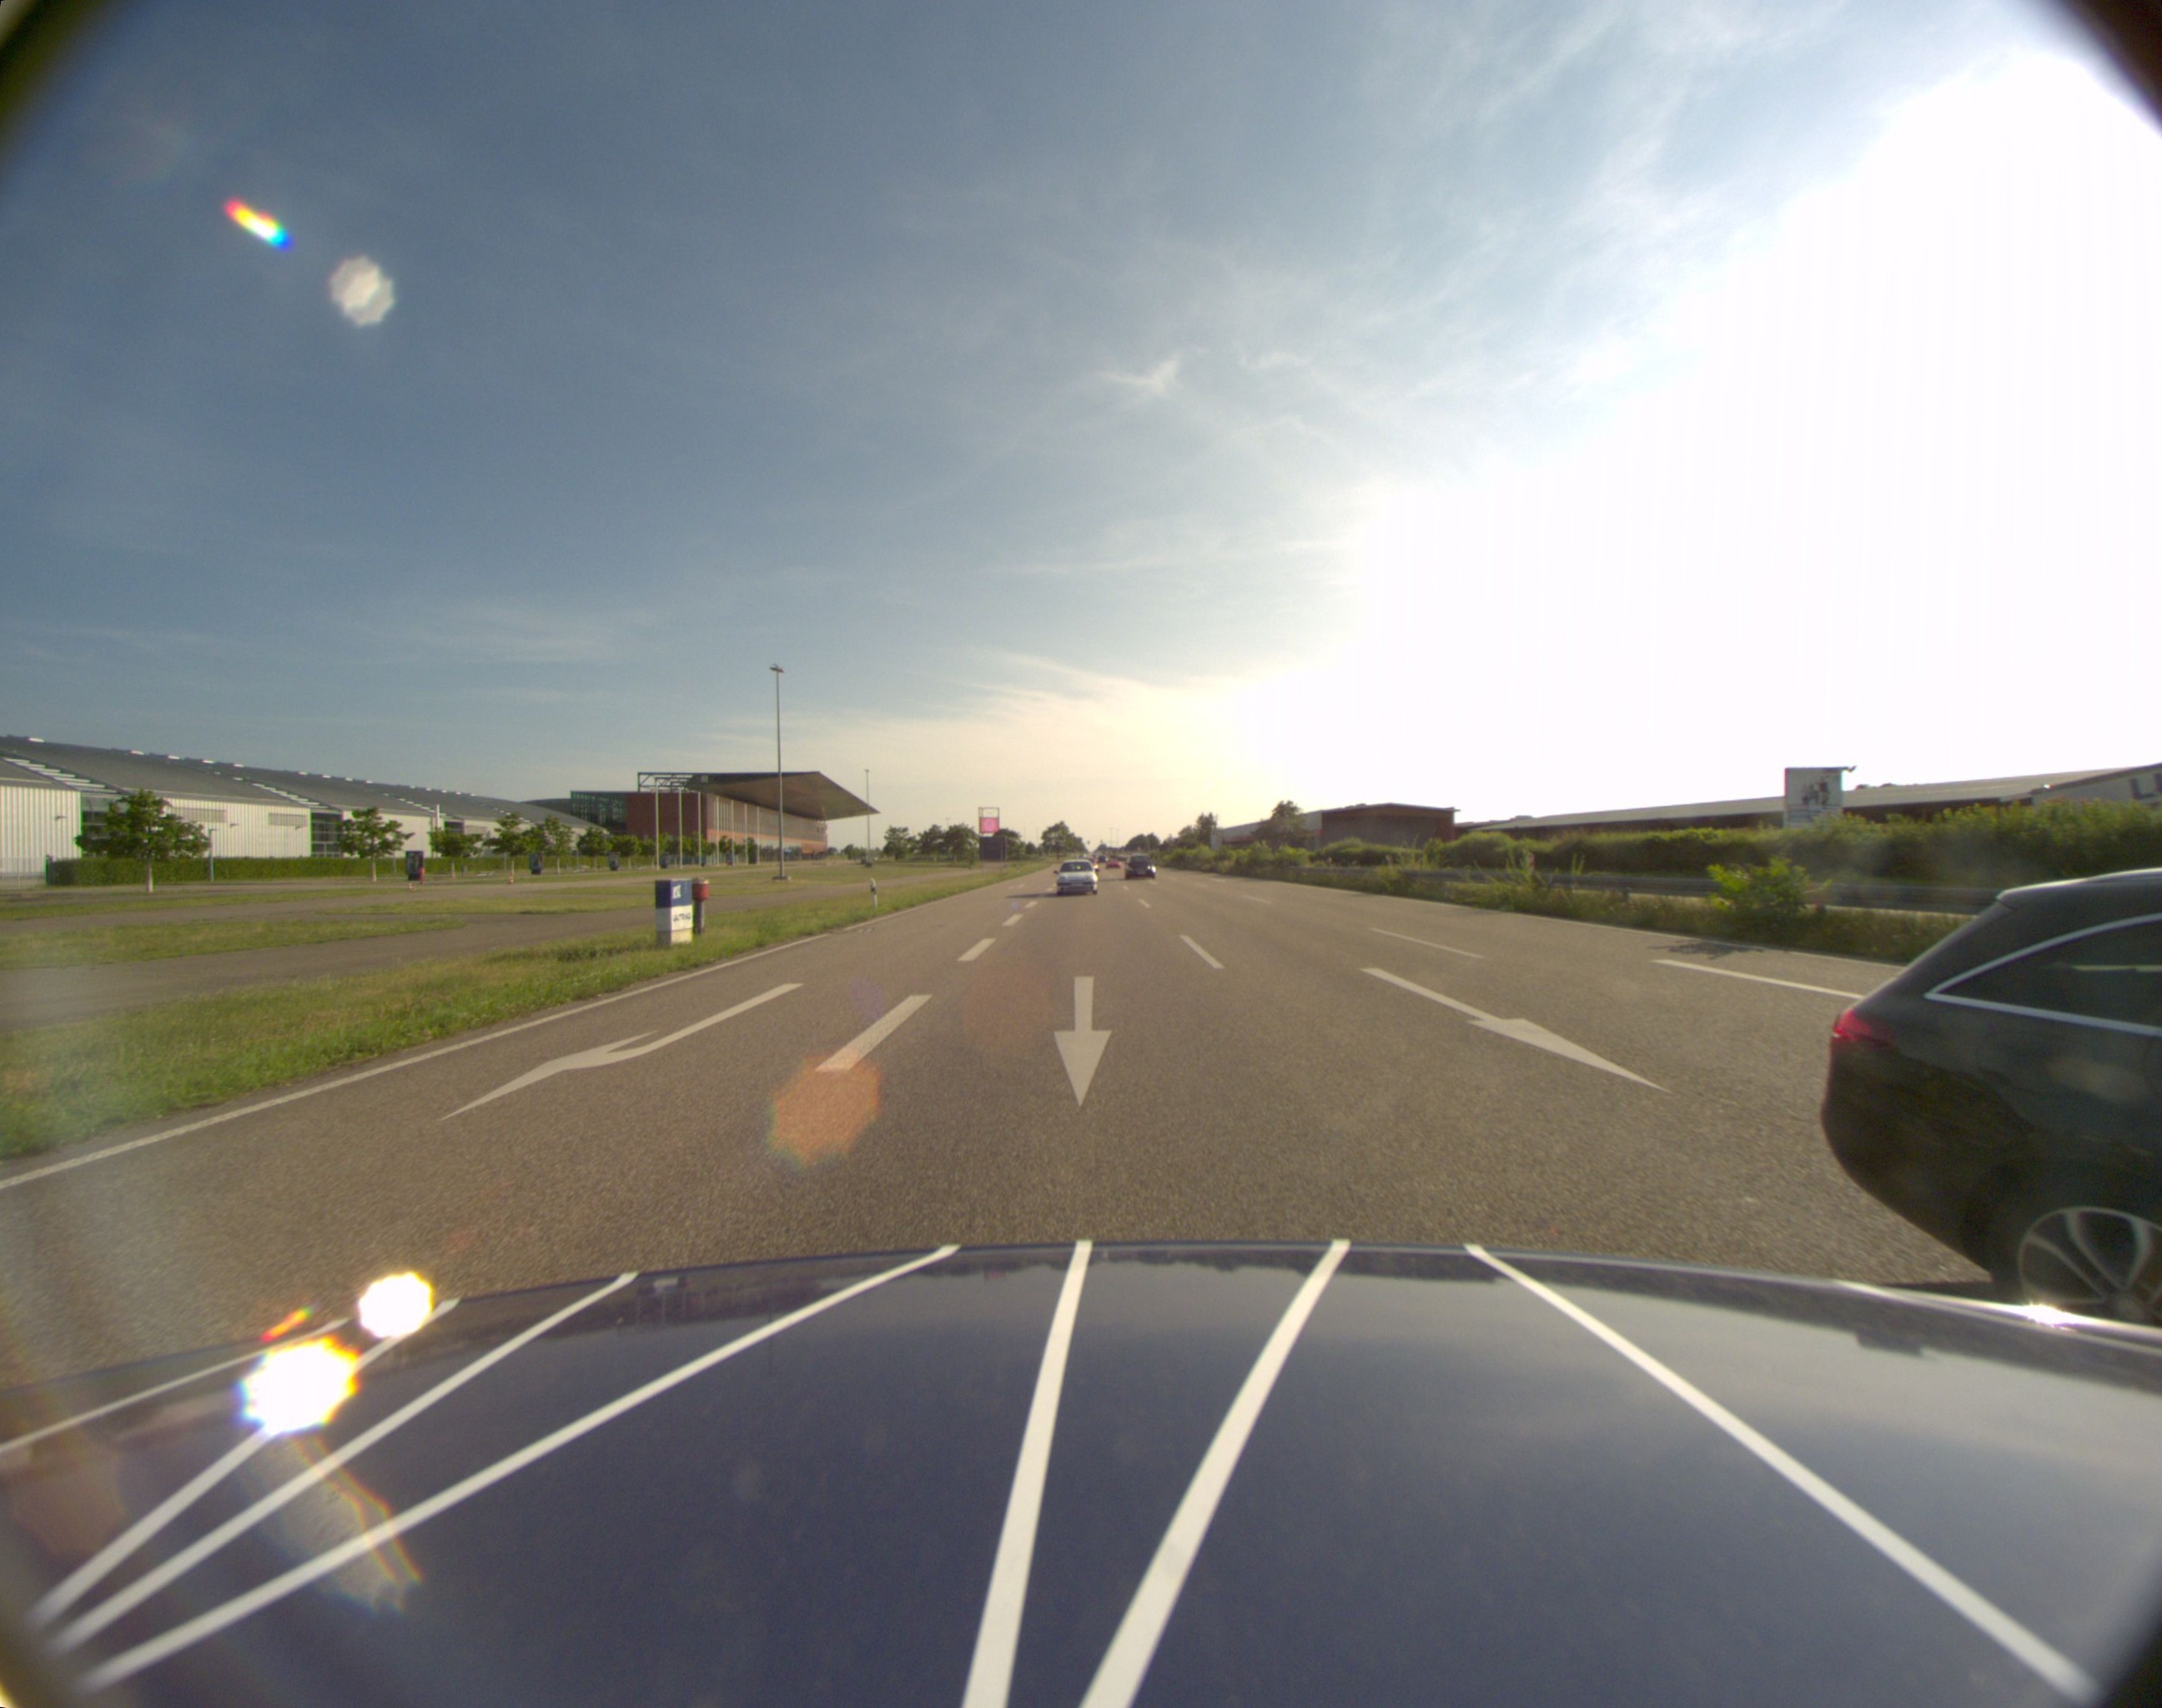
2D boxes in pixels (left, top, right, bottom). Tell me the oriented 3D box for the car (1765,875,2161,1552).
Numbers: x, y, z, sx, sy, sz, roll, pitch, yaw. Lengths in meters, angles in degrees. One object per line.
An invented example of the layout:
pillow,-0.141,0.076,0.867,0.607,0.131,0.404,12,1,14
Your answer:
car,3.184,0.833,0.180,1.576,1.462,5.022,-1,0,1

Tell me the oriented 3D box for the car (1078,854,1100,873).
car,0.703,0.798,66.219,1.751,1.512,3.739,-2,0,1

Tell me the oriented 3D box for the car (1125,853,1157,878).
car,3.826,0.712,49.029,1.758,1.499,3.422,-1,0,0

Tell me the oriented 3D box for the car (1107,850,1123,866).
car,4.106,0.469,92.790,1.799,1.926,4.000,-1,1,0

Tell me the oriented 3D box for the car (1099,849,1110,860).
car,4.528,0.079,146.899,1.998,2.002,4.000,-1,1,0

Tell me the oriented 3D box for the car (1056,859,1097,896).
car,-0.155,0.924,31.327,1.578,1.371,3.451,-2,0,1
